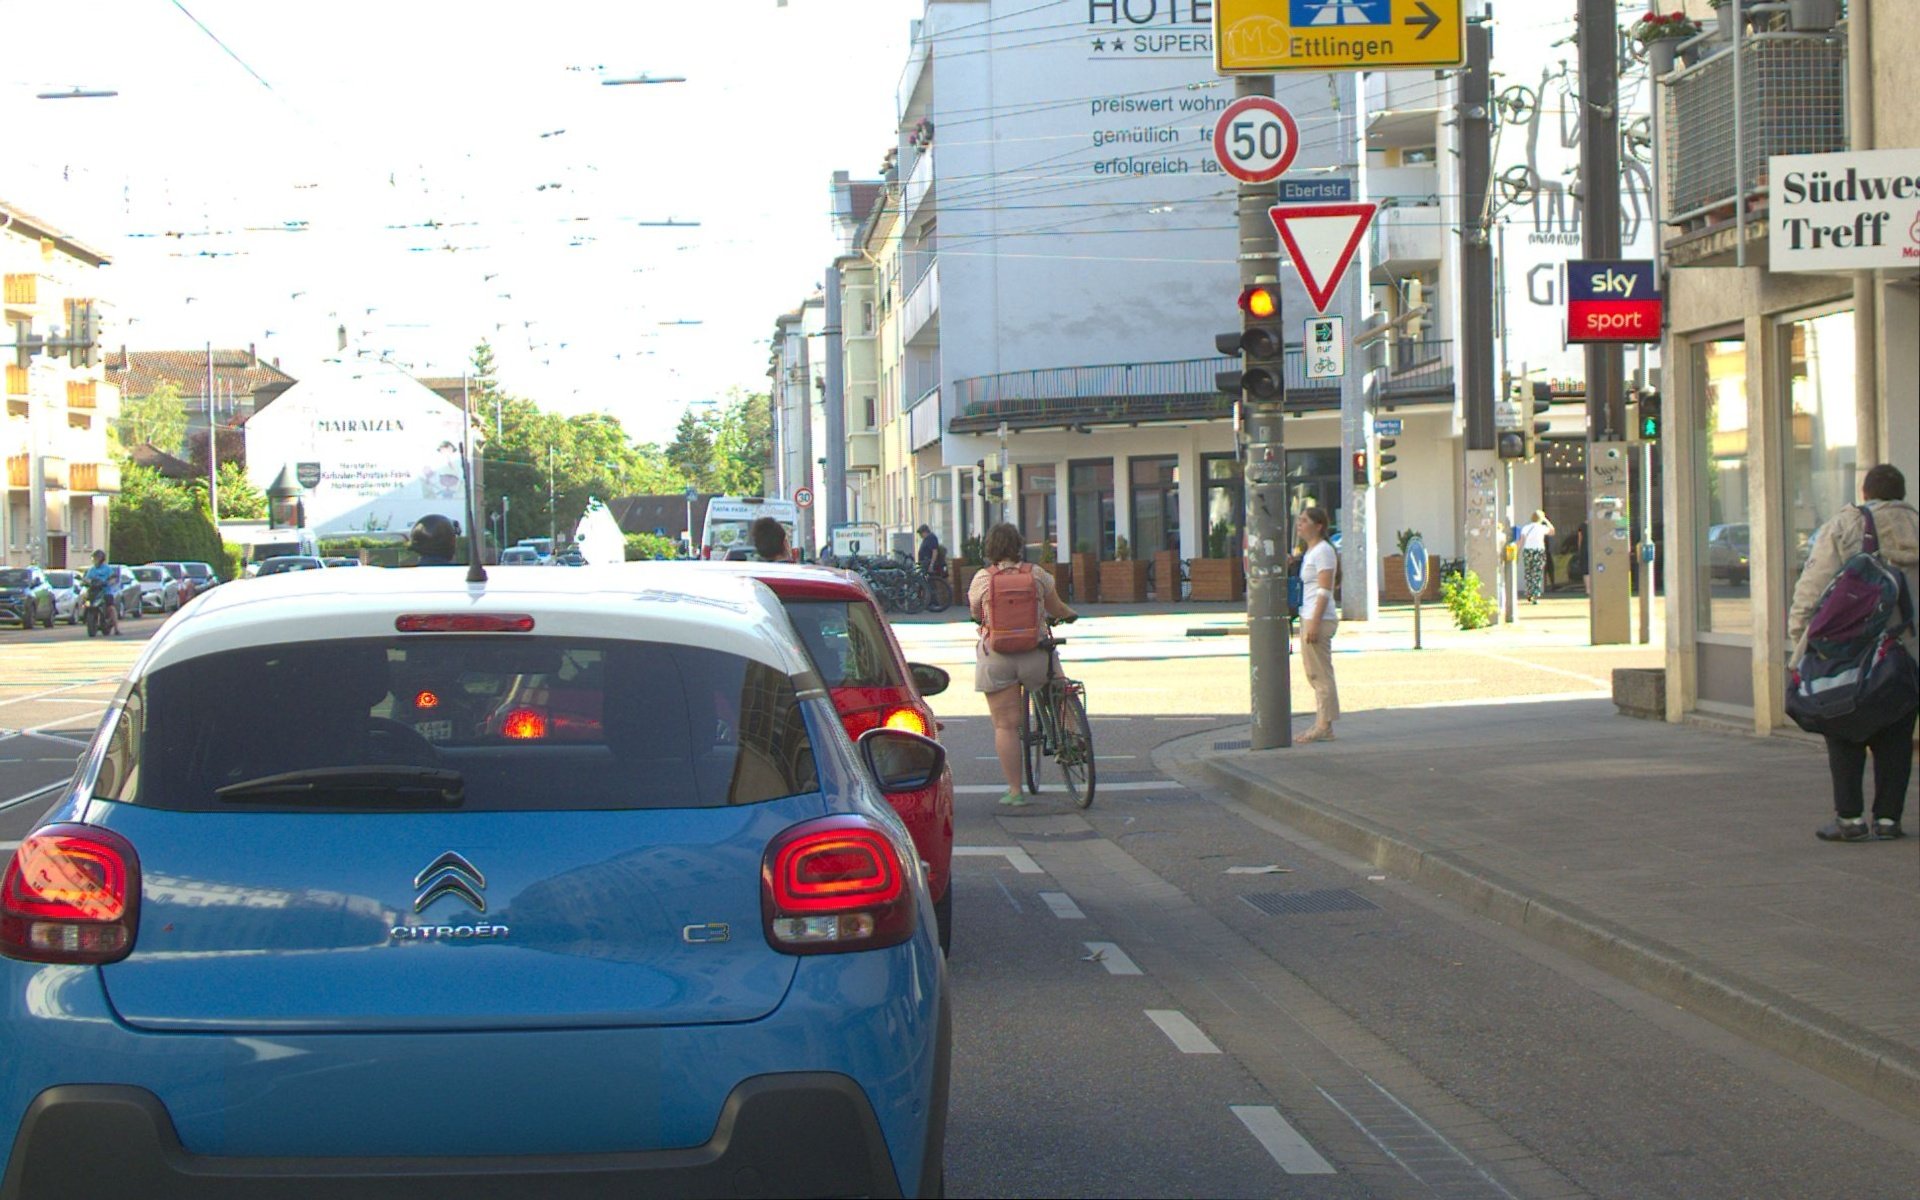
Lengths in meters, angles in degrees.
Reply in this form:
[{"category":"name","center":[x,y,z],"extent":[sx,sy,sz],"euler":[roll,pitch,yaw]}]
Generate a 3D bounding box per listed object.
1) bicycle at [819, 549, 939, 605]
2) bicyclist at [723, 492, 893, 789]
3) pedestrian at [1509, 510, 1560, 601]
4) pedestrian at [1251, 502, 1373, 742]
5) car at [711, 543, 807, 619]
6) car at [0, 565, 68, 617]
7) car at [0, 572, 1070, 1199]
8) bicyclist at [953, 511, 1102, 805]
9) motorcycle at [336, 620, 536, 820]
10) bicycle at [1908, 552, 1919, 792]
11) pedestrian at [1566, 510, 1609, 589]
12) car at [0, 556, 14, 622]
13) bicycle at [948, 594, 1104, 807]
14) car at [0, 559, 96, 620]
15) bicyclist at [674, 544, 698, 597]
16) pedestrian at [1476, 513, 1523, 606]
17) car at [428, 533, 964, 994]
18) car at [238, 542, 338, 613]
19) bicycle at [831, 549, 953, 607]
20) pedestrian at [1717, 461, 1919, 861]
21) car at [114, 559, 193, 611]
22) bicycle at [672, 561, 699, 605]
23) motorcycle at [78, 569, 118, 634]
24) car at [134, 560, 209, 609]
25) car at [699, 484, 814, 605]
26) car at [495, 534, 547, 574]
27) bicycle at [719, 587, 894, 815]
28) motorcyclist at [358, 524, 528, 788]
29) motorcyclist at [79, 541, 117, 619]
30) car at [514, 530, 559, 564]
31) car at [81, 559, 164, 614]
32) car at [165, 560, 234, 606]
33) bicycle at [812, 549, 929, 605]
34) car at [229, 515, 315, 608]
[{"category":"bicycle","center":[-1.596,-0.452,67.181],"extent":[2.251,0.998,0.856],"euler":[-3,1,-5]},{"category":"bicyclist","center":[-0.875,0.225,19.969],"extent":[0.940,1.667,1.079],"euler":[1,0,-2]},{"category":"pedestrian","center":[10.280,-0.797,61.523],"extent":[0.611,1.603,0.667],"euler":[1,1,42]},{"category":"pedestrian","center":[2.476,0.150,24.152],"extent":[0.540,1.618,0.732],"euler":[-5,-1,21]},{"category":"car","center":[-3.997,-0.382,67.847],"extent":[1.657,1.426,3.889],"euler":[1,1,-7]},{"category":"car","center":[-23.686,-0.237,86.010],"extent":[1.946,1.235,4.283],"euler":[1,1,-5]},{"category":"car","center":[-0.742,0.677,7.160],"extent":[1.736,1.447,3.662],"euler":[0,1,5]},{"category":"bicyclist","center":[0.408,0.329,20.358],"extent":[0.811,1.686,0.935],"euler":[1,0,4]},{"category":"motorcycle","center":[-2.967,0.660,19.652],"extent":[0.855,1.043,1.942],"euler":[1,1,-1]},{"category":"bicycle","center":[4.898,0.348,15.768],"extent":[0.496,1.157,1.777],"euler":[-1,0,-3]},{"category":"pedestrian","center":[11.576,-0.935,63.414],"extent":[0.607,1.439,0.554],"euler":[1,0,30]},{"category":"car","center":[-23.182,-0.259,79.382],"extent":[1.741,1.521,4.230],"euler":[1,1,-4]},{"category":"bicycle","center":[0.416,0.566,20.535],"extent":[0.811,1.177,2.064],"euler":[1,1,4]},{"category":"car","center":[-24.396,-0.300,92.079],"extent":[1.869,1.571,4.001],"euler":[1,1,-6]},{"category":"bicyclist","center":[-10.570,-1.133,132.644],"extent":[0.791,2.018,0.986],"euler":[1,0,1]},{"category":"pedestrian","center":[9.311,-0.698,59.347],"extent":[0.610,1.603,0.668],"euler":[1,0,27]},{"category":"car","center":[-1.058,0.522,13.471],"extent":[1.784,1.516,3.763],"euler":[1,1,-5]},{"category":"car","center":[-14.913,-0.507,76.446],"extent":[1.778,1.481,3.829],"euler":[-2,1,-5]},{"category":"bicycle","center":[-1.305,-0.425,65.814],"extent":[2.251,0.998,0.856],"euler":[-3,1,-5]},{"category":"pedestrian","center":[3.791,0.231,14.440],"extent":[0.884,1.586,0.811],"euler":[-4,2,-8]},{"category":"car","center":[-25.279,-0.472,107.847],"extent":[1.869,1.571,4.001],"euler":[1,1,-6]},{"category":"bicycle","center":[-10.577,-0.668,132.572],"extent":[0.791,1.664,2.230],"euler":[1,1,1]},{"category":"motorcycle","center":[-16.792,0.031,66.988],"extent":[0.711,1.216,1.966],"euler":[-1,-1,-14]},{"category":"car","center":[-25.827,-0.529,112.701],"extent":[1.869,1.571,4.001],"euler":[1,1,-6]},{"category":"car","center":[-4.347,-1.163,72.825],"extent":[2.265,2.473,5.009],"euler":[0,1,-5]},{"category":"car","center":[-21.797,-2.258,170.838],"extent":[2.218,1.925,4.950],"euler":[1,1,-4]},{"category":"bicycle","center":[-0.870,0.548,19.856],"extent":[0.940,1.219,2.095],"euler":[1,1,-2]},{"category":"motorcyclist","center":[-2.967,0.313,19.789],"extent":[0.855,1.483,0.729],"euler":[1,0,-1]},{"category":"motorcyclist","center":[-16.843,-0.387,67.168],"extent":[0.693,1.491,0.684],"euler":[-1,-1,-14]},{"category":"car","center":[-23.123,-2.887,187.831],"extent":[2.074,1.756,5.037],"euler":[1,1,-4]},{"category":"car","center":[-25.014,-0.417,102.814],"extent":[1.869,1.571,4.001],"euler":[1,1,-6]},{"category":"car","center":[-26.305,-0.599,118.979],"extent":[1.869,1.571,4.001],"euler":[1,1,-6]},{"category":"bicycle","center":[-1.783,-0.460,68.293],"extent":[2.251,0.998,0.856],"euler":[-3,1,-5]},{"category":"car","center":[-23.832,-1.327,119.137],"extent":[2.417,3.131,3.489],"euler":[1,0,-3]}]
